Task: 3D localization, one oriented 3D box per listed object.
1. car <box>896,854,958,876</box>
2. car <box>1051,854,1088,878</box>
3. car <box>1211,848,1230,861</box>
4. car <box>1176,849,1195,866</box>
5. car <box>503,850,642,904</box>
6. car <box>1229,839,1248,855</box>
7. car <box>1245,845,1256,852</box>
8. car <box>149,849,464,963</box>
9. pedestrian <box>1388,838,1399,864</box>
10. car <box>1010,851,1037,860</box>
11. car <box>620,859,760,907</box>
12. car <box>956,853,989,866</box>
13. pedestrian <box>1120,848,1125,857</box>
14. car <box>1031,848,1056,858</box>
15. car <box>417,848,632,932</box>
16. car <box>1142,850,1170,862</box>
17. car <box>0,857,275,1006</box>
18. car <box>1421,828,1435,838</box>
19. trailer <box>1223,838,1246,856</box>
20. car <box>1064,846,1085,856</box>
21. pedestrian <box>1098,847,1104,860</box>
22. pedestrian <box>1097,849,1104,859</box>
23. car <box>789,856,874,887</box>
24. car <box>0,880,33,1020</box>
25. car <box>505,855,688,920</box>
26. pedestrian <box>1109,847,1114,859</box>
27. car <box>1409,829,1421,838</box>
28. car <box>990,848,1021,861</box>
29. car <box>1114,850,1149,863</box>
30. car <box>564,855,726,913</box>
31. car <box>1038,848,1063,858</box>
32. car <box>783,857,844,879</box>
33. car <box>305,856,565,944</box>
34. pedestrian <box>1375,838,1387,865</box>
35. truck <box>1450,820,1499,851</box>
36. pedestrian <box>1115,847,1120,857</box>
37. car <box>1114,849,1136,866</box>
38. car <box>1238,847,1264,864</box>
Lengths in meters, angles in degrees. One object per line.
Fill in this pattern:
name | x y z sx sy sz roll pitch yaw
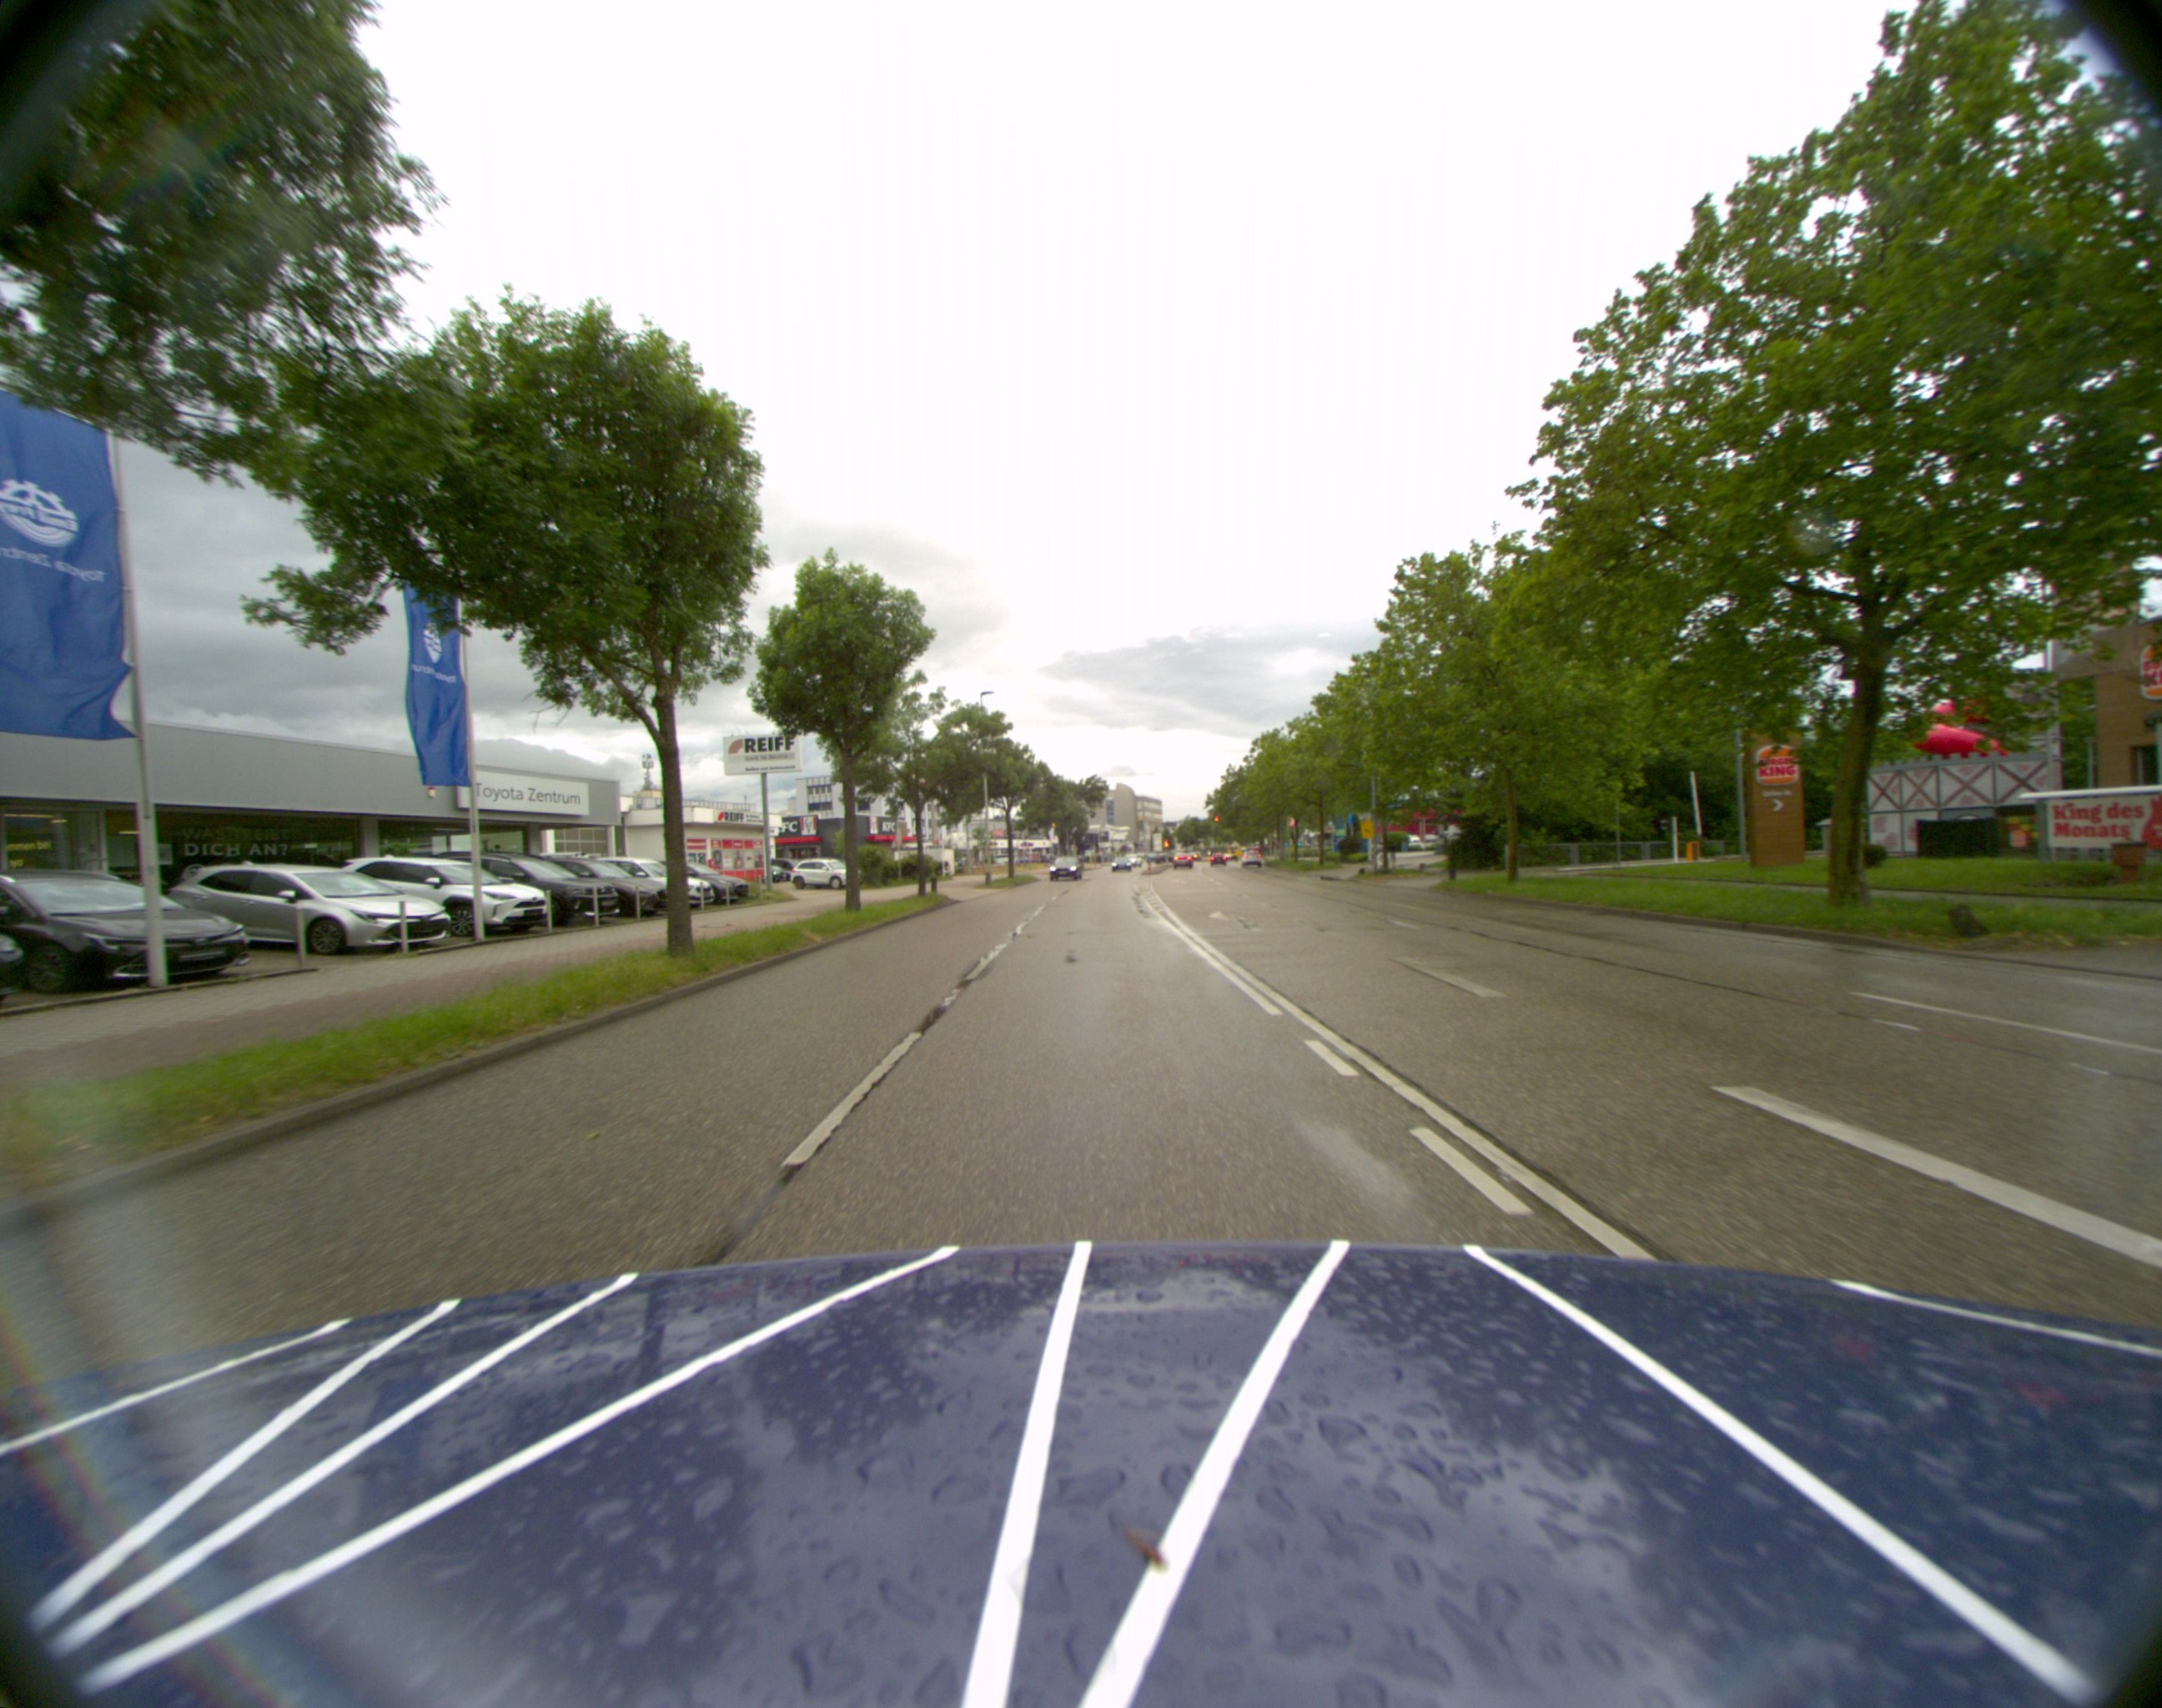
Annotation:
car | -11.898 0.868 58.765 4.181 1.543 1.891 -2 0 11
car | -0.746 0.797 52.421 1.899 1.544 4.594 -2 0 8
car | 16.039 0.073 87.737 1.997 1.499 4.734 -1 -1 9
car | 10.642 0.333 77.786 1.815 1.553 4.600 -2 1 7
car | -21.918 0.983 32.861 4.664 2.137 1.965 -2 0 2
car | 25.492 -1.142 122.960 2.242 2.459 5.022 -4 -1 20
car | 36.780 -1.149 164.934 1.785 1.396 4.005 -1 0 18
car | -13.829 0.864 13.710 3.995 1.776 1.812 2 1 4
pedestrian | 20.931 -0.210 50.822 0.513 1.673 0.540 -1 1 4
car | -10.270 0.239 135.112 4.366 1.385 1.826 -2 0 18
car | -13.366 0.966 26.152 3.842 1.453 1.828 2 1 2
car | -15.481 0.834 108.243 4.241 1.772 1.801 -2 -2 14
pedestrian | 7.767 -0.307 143.618 0.713 1.701 0.698 -1 0 19
car | -7.207 -0.118 145.380 4.366 1.754 1.899 -2 0 18
car | -13.582 0.827 18.690 3.995 1.776 1.812 2 1 4
car | 10.869 0.304 110.094 3.996 1.532 1.814 -2 2 2
car | -13.814 0.949 10.308 3.995 1.776 1.812 0 1 4
car | 61.142 -3.691 133.877 1.669 1.636 3.831 -1 0 17
trailer | 24.092 -1.051 118.915 2.306 2.459 7.983 -4 -1 20
car | -1.360 -0.668 157.883 3.991 2.002 1.914 -2 0 21
pedestrian | 3.320 -0.098 126.373 0.817 2.002 0.696 -2 1 -25
pedestrian | 3.313 -0.016 128.336 0.817 1.765 0.696 -2 2 -25
car | -13.659 0.965 41.565 4.058 1.588 1.988 -1 1 23
car | -14.041 1.039 7.979 3.995 1.538 1.711 1 1 4
car | -13.466 0.889 21.258 3.995 1.575 1.812 2 1 4
pedestrian | 5.316 -0.154 131.935 0.740 2.002 0.698 -1 0 13
car | 66.032 -4.040 150.354 1.669 1.636 3.967 -1 0 17
car | -12.735 0.058 127.718 4.777 2.002 2.003 -2 0 19
car | 6.243 0.309 93.696 4.007 1.543 1.897 -1 -1 -36
car | -13.515 0.900 23.698 3.995 1.534 1.812 2 1 4
car | -5.939 -0.226 147.466 4.366 1.895 1.899 -2 1 18
car | -20.077 1.061 57.106 3.855 1.470 1.788 -2 1 5
car | -13.708 0.936 16.304 3.997 1.578 1.812 3 0 1
pedestrian | 20.076 -0.160 50.815 0.665 1.756 0.584 -3 1 25
truck | 35.980 -1.649 69.334 2.149 2.659 7.890 -1 0 41
pedestrian | 6.718 -0.346 140.965 0.700 1.701 0.698 -1 0 19
car | 4.319 0.324 74.181 1.799 1.623 4.553 -1 0 6
car | 17.056 0.151 76.283 1.932 1.610 4.400 -2 1 5
